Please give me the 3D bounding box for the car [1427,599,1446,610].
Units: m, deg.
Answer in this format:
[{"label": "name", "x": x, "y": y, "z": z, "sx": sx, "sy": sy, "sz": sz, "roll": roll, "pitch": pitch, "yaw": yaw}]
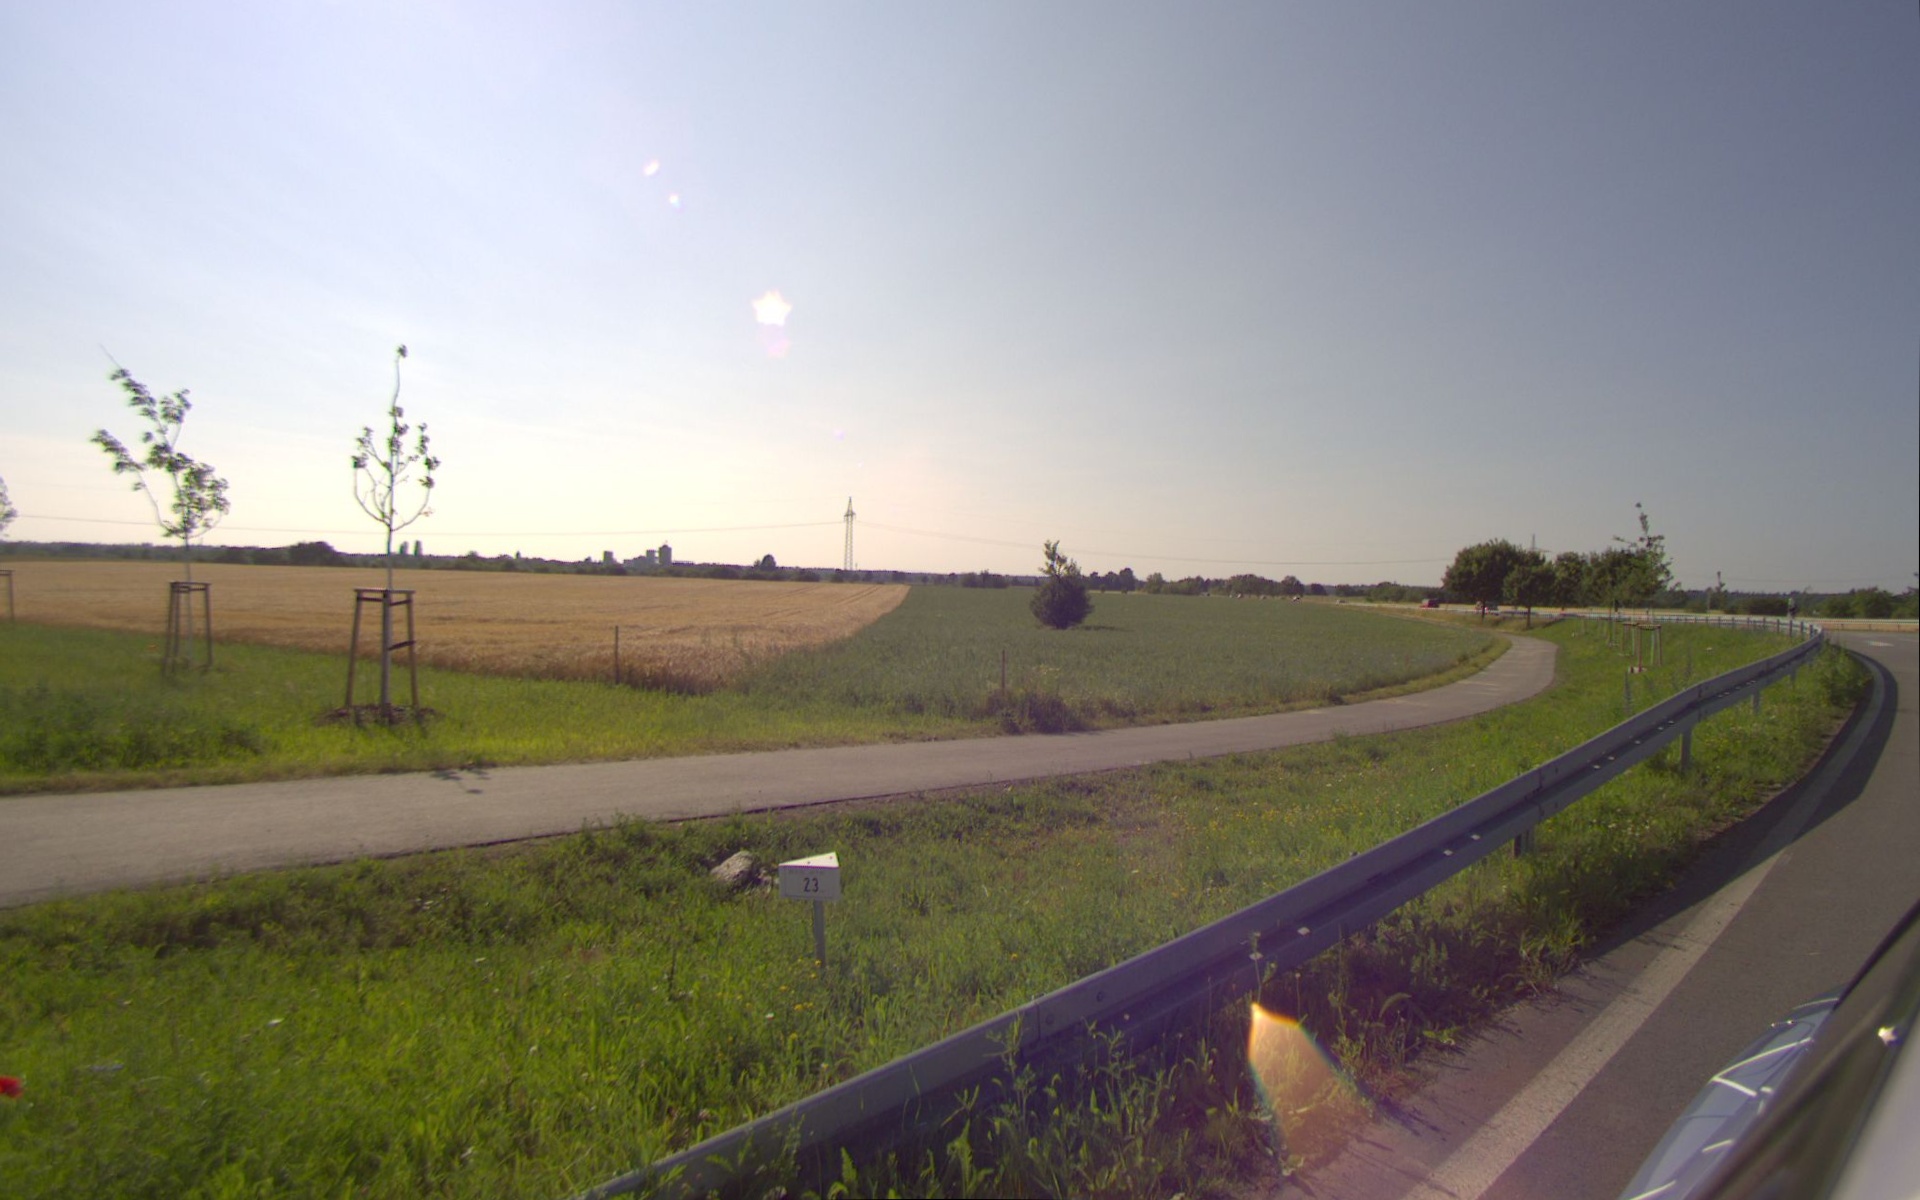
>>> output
[{"label": "car", "x": 77.289, "y": 0.743, "z": 164.175, "sx": 1.785, "sy": 1.694, "sz": 3.990, "roll": 0, "pitch": 0, "yaw": 9}]
